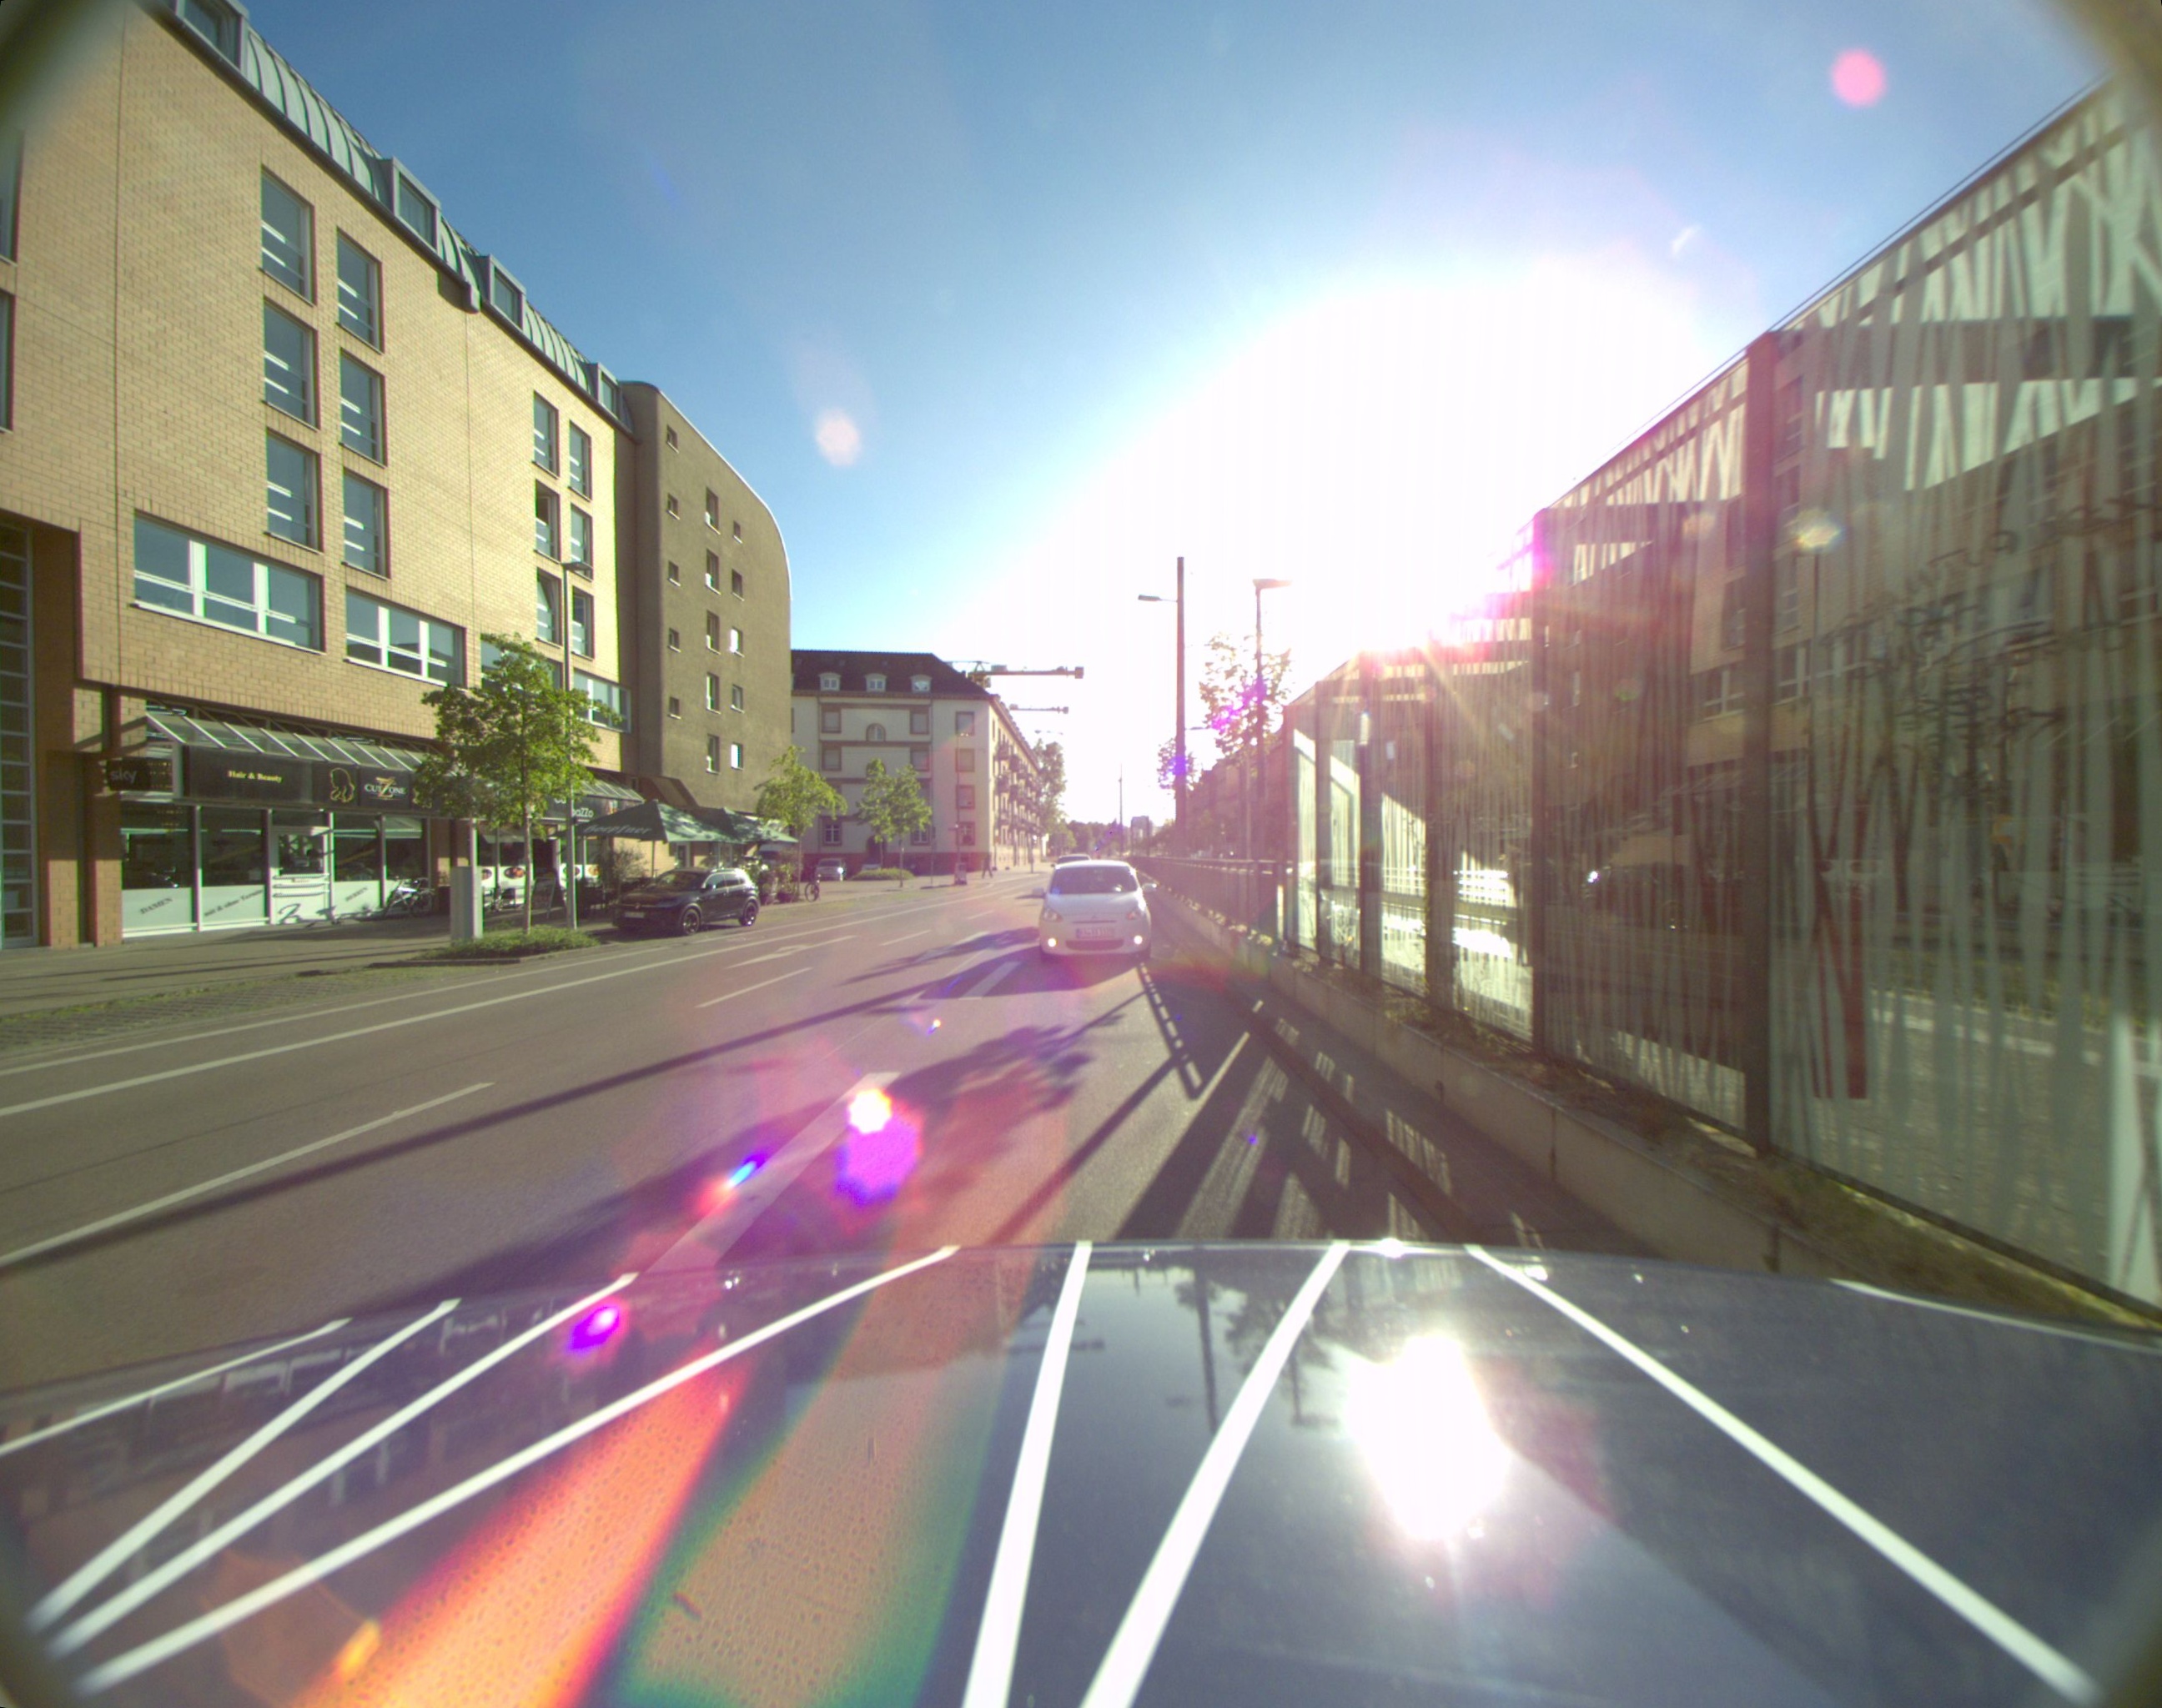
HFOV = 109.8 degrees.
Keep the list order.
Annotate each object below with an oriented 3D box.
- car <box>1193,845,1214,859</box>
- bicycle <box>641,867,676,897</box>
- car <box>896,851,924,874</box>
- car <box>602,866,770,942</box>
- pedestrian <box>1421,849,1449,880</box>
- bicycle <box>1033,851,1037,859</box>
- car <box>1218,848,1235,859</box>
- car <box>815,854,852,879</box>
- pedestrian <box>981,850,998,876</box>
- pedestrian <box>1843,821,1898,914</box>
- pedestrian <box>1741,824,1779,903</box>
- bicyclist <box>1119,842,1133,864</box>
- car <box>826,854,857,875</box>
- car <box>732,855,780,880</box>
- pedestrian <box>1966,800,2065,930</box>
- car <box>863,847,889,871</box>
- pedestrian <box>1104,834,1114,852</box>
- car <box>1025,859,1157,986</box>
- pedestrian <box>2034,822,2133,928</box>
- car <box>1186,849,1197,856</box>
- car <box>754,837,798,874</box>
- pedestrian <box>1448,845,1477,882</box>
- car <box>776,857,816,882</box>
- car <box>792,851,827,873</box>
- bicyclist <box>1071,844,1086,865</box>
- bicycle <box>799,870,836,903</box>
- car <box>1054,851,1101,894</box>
[{"bbox_3d":[17.544,-0.298,108.927,1.999,1.869,4.582,-3,0,-2],"label":"car"},{"bbox_3d":[-17.170,1.135,30.891,0.615,1.162,1.536,1,0,-2],"label":"bicycle"},{"bbox_3d":[-13.649,0.670,60.797,1.697,1.676,4.437,-3,0,-7],"label":"car"},{"bbox_3d":[-9.917,1.172,19.505,1.724,1.627,4.233,0,1,7],"label":"car"},{"bbox_3d":[13.703,0.410,29.446,0.723,1.161,0.721,1,1,1],"label":"pedestrian"},{"bbox_3d":[-6.593,0.085,108.820,0.419,1.089,2.198,0,1,1],"label":"bicycle"},{"bbox_3d":[23.268,-0.132,121.313,1.943,1.649,4.545,-2,0,2],"label":"car"},{"bbox_3d":[-15.798,0.791,48.632,1.668,1.466,3.833,-3,0,-11],"label":"car"},{"bbox_3d":[-6.395,0.635,53.223,0.885,1.754,1.106,1,2,10],"label":"pedestrian"},{"bbox_3d":[14.152,0.239,13.626,0.379,1.612,0.553,-2,1,1],"label":"pedestrian"},{"bbox_3d":[14.388,0.199,16.101,0.379,1.639,0.416,-2,1,1],"label":"pedestrian"},{"bbox_3d":[3.786,-0.089,64.126,0.886,1.763,0.854,-1,1,-25],"label":"bicyclist"},{"bbox_3d":[-18.832,0.766,60.013,1.698,1.421,4.435,-3,2,-10],"label":"car"},{"bbox_3d":[-20.432,0.807,47.880,1.637,1.446,3.732,-3,0,-6],"label":"car"},{"bbox_3d":[12.666,0.147,10.310,0.642,1.686,0.541,-2,1,1],"label":"pedestrian"},{"bbox_3d":[-16.357,0.379,60.647,1.629,1.677,4.434,-1,2,-11],"label":"car"},{"bbox_3d":[2.327,-0.936,63.075,0.791,1.449,0.946,0,1,-1],"label":"pedestrian"},{"bbox_3d":[0.162,0.903,11.929,1.634,1.499,4.350,-3,0,1],"label":"car"},{"bbox_3d":[14.217,0.287,10.789,0.540,1.451,0.642,-2,1,1],"label":"pedestrian"},{"bbox_3d":[22.831,-0.282,156.885,1.753,1.471,4.027,-2,0,1],"label":"car"},{"bbox_3d":[-23.447,0.036,58.721,1.929,2.595,5.954,-1,3,-10],"label":"car"},{"bbox_3d":[13.749,0.348,27.404,0.647,1.301,0.721,1,1,1],"label":"pedestrian"},{"bbox_3d":[-18.035,0.929,48.206,1.637,1.444,3.653,-3,0,-9],"label":"car"},{"bbox_3d":[-21.326,0.602,59.853,1.698,1.470,4.435,-3,2,-9],"label":"car"},{"bbox_3d":[-0.200,0.042,62.528,0.935,1.753,0.737,1,1,42],"label":"bicyclist"},{"bbox_3d":[-10.192,1.229,29.446,0.767,1.075,1.997,4,2,-2],"label":"bicycle"},{"bbox_3d":[-0.099,0.788,34.055,1.899,1.730,4.000,-2,0,1],"label":"car"}]
